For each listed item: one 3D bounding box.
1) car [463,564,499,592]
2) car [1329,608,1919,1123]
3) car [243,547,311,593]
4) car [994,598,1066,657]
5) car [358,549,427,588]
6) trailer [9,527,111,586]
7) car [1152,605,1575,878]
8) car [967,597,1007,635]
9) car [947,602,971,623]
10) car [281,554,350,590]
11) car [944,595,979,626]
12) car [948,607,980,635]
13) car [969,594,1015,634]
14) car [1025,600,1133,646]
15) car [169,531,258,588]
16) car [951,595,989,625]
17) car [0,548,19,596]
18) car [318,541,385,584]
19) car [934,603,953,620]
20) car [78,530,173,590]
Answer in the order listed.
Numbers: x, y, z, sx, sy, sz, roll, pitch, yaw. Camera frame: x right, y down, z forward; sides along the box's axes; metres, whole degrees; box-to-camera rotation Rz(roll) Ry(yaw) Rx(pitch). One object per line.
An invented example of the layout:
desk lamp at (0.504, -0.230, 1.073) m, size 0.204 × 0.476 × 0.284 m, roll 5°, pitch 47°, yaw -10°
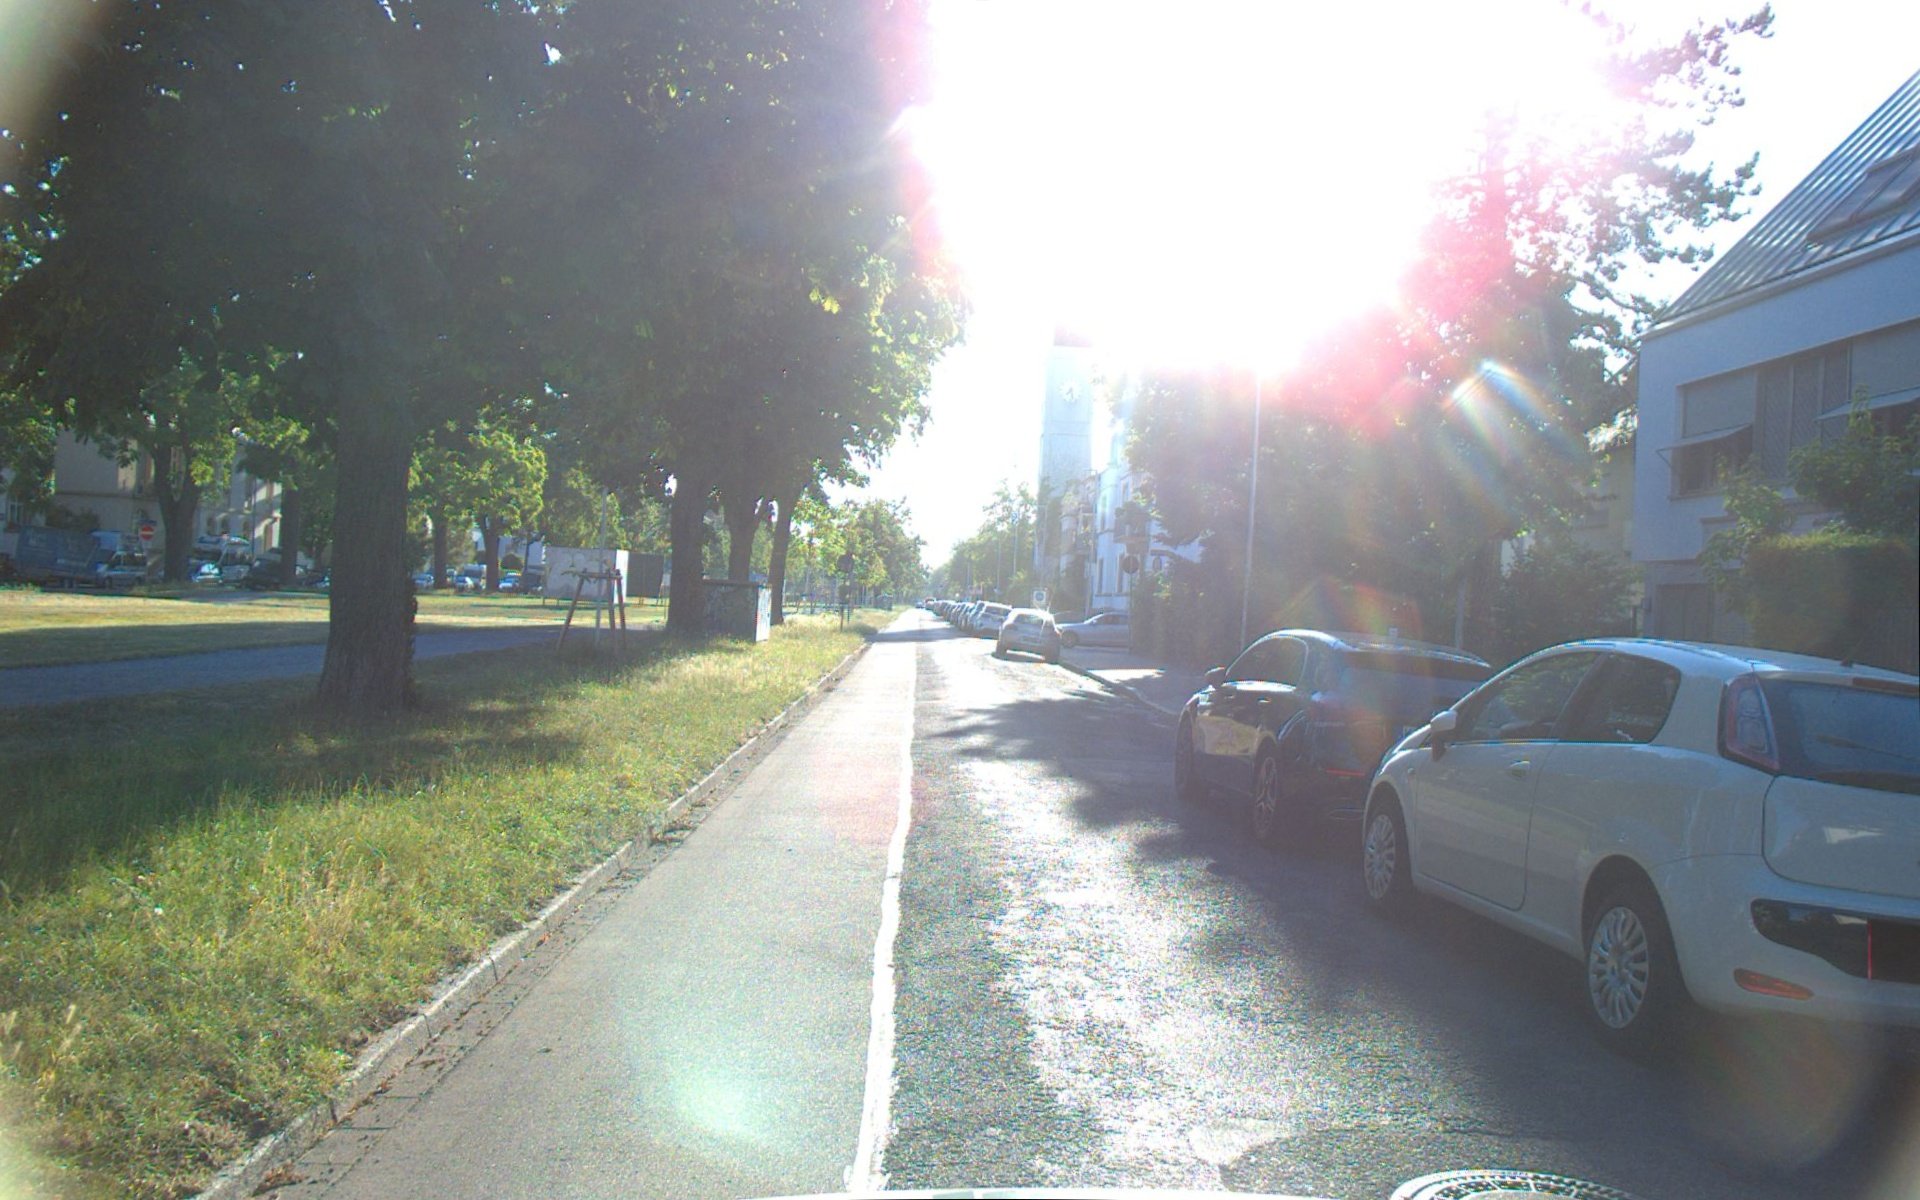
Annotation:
car at (-42.616, -1.944, 147.195) m, size 1.953 × 2.452 × 4.362 m, roll 0°, pitch 0°, yaw -1°
car at (3.098, 0.905, 7.190) m, size 1.659 × 1.508 × 3.925 m, roll 7°, pitch 0°, yaw -5°
car at (-35.149, -1.502, 85.272) m, size 1.650 × 2.214 × 4.313 m, roll 2°, pitch 0°, yaw -1°
car at (2.056, 0.782, 49.438) m, size 1.723 × 1.443 × 4.071 m, roll 9°, pitch 0°, yaw -1°
car at (-35.563, -1.976, 103.850) m, size 2.483 × 2.275 × 5.458 m, roll 2°, pitch 1°, yaw -1°
trailer at (-40.522, -1.908, 74.580) m, size 1.953 × 2.470 × 4.723 m, roll 2°, pitch 0°, yaw -1°
car at (2.708, 0.871, 12.185) m, size 1.715 × 1.502 × 4.285 m, roll 4°, pitch 0°, yaw -4°
car at (1.254, 0.743, 78.891) m, size 1.651 × 1.679 × 4.098 m, roll 3°, pitch 0°, yaw -2°
car at (-0.096, 1.037, 139.835) m, size 1.953 × 1.658 × 3.999 m, roll 2°, pitch 0°, yaw 0°
car at (-35.302, -1.517, 90.701) m, size 1.953 × 1.824 × 4.484 m, roll 2°, pitch 0°, yaw 0°
car at (0.070, 0.586, 93.120) m, size 1.723 × 1.633 × 4.356 m, roll 2°, pitch 0°, yaw -3°
car at (0.232, 1.301, 103.211) m, size 1.726 × 1.548 × 3.998 m, roll 4°, pitch 0°, yaw -3°
car at (1.374, 0.578, 72.760) m, size 1.723 × 1.633 × 4.356 m, roll 2°, pitch 0°, yaw -3°
car at (4.513, 0.866, 63.158) m, size 3.907 × 1.444 × 1.766 m, roll 3°, pitch 2°, yaw -3°
car at (-41.135, -2.178, 91.340) m, size 2.388 × 2.973 × 5.816 m, roll 0°, pitch 0°, yaw -1°
car at (0.495, 0.529, 87.544) m, size 1.726 × 1.445 × 3.998 m, roll 3°, pitch 0°, yaw -3°
car at (-40.637, -1.215, 67.371) m, size 1.954 × 1.987 × 4.748 m, roll 2°, pitch 0°, yaw -3°
car at (-35.355, -2.156, 96.227) m, size 1.953 × 2.289 × 5.185 m, roll 2°, pitch 0°, yaw -1°
car at (-1.723, 1.233, 174.491) m, size 1.940 × 1.712 × 3.999 m, roll 2°, pitch 0°, yaw 0°
car at (-40.686, -1.893, 80.806) m, size 1.953 × 2.719 × 5.185 m, roll 2°, pitch 0°, yaw -1°
